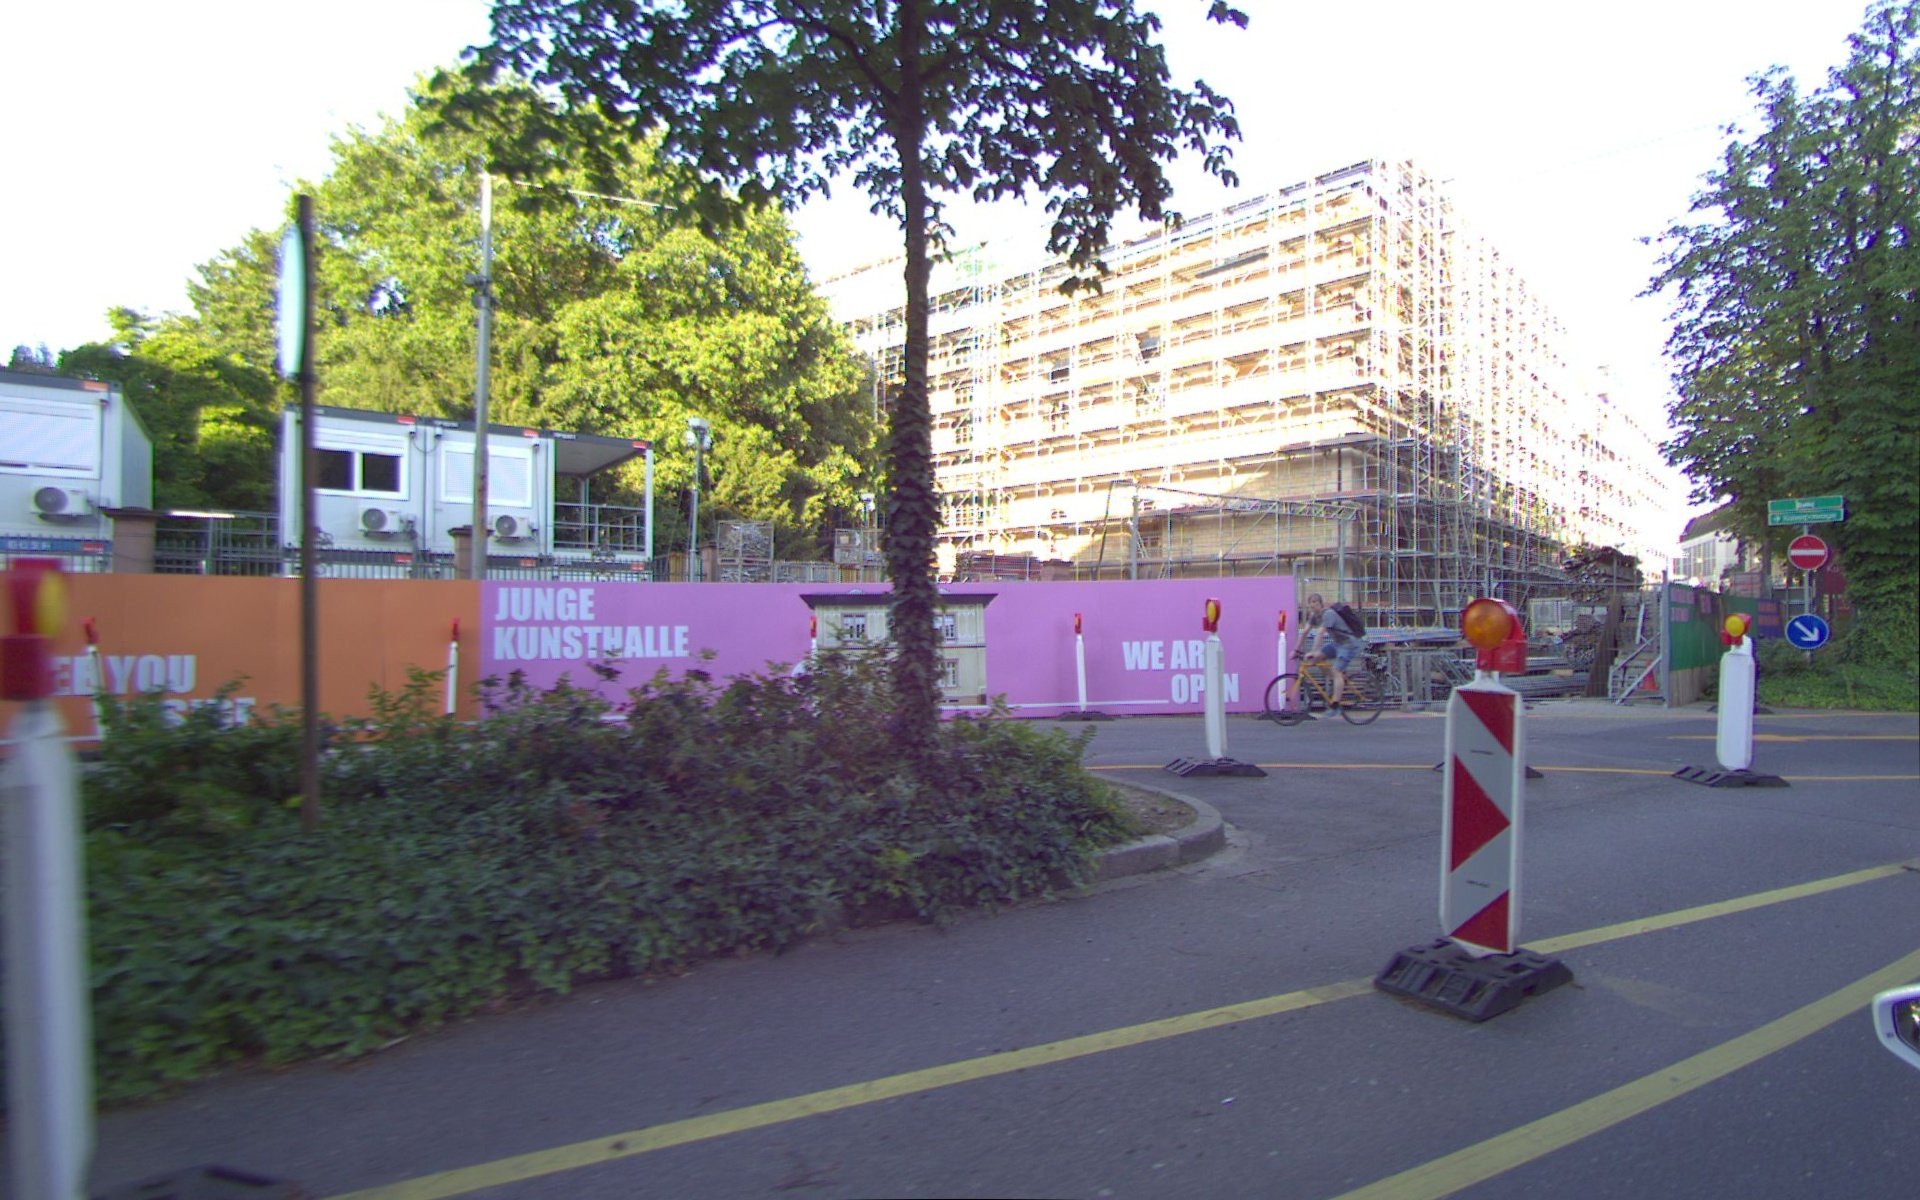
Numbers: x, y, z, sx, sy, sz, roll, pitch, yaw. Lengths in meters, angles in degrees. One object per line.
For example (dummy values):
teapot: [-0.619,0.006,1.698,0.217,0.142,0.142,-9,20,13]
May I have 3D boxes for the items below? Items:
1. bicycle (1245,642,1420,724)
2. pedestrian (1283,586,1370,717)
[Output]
bicycle: [4.965,1.095,13.470,2.080,1.051,0.763,0,-1,-5]
pedestrian: [4.903,0.679,13.473,0.878,1.696,0.737,0,-1,-4]
